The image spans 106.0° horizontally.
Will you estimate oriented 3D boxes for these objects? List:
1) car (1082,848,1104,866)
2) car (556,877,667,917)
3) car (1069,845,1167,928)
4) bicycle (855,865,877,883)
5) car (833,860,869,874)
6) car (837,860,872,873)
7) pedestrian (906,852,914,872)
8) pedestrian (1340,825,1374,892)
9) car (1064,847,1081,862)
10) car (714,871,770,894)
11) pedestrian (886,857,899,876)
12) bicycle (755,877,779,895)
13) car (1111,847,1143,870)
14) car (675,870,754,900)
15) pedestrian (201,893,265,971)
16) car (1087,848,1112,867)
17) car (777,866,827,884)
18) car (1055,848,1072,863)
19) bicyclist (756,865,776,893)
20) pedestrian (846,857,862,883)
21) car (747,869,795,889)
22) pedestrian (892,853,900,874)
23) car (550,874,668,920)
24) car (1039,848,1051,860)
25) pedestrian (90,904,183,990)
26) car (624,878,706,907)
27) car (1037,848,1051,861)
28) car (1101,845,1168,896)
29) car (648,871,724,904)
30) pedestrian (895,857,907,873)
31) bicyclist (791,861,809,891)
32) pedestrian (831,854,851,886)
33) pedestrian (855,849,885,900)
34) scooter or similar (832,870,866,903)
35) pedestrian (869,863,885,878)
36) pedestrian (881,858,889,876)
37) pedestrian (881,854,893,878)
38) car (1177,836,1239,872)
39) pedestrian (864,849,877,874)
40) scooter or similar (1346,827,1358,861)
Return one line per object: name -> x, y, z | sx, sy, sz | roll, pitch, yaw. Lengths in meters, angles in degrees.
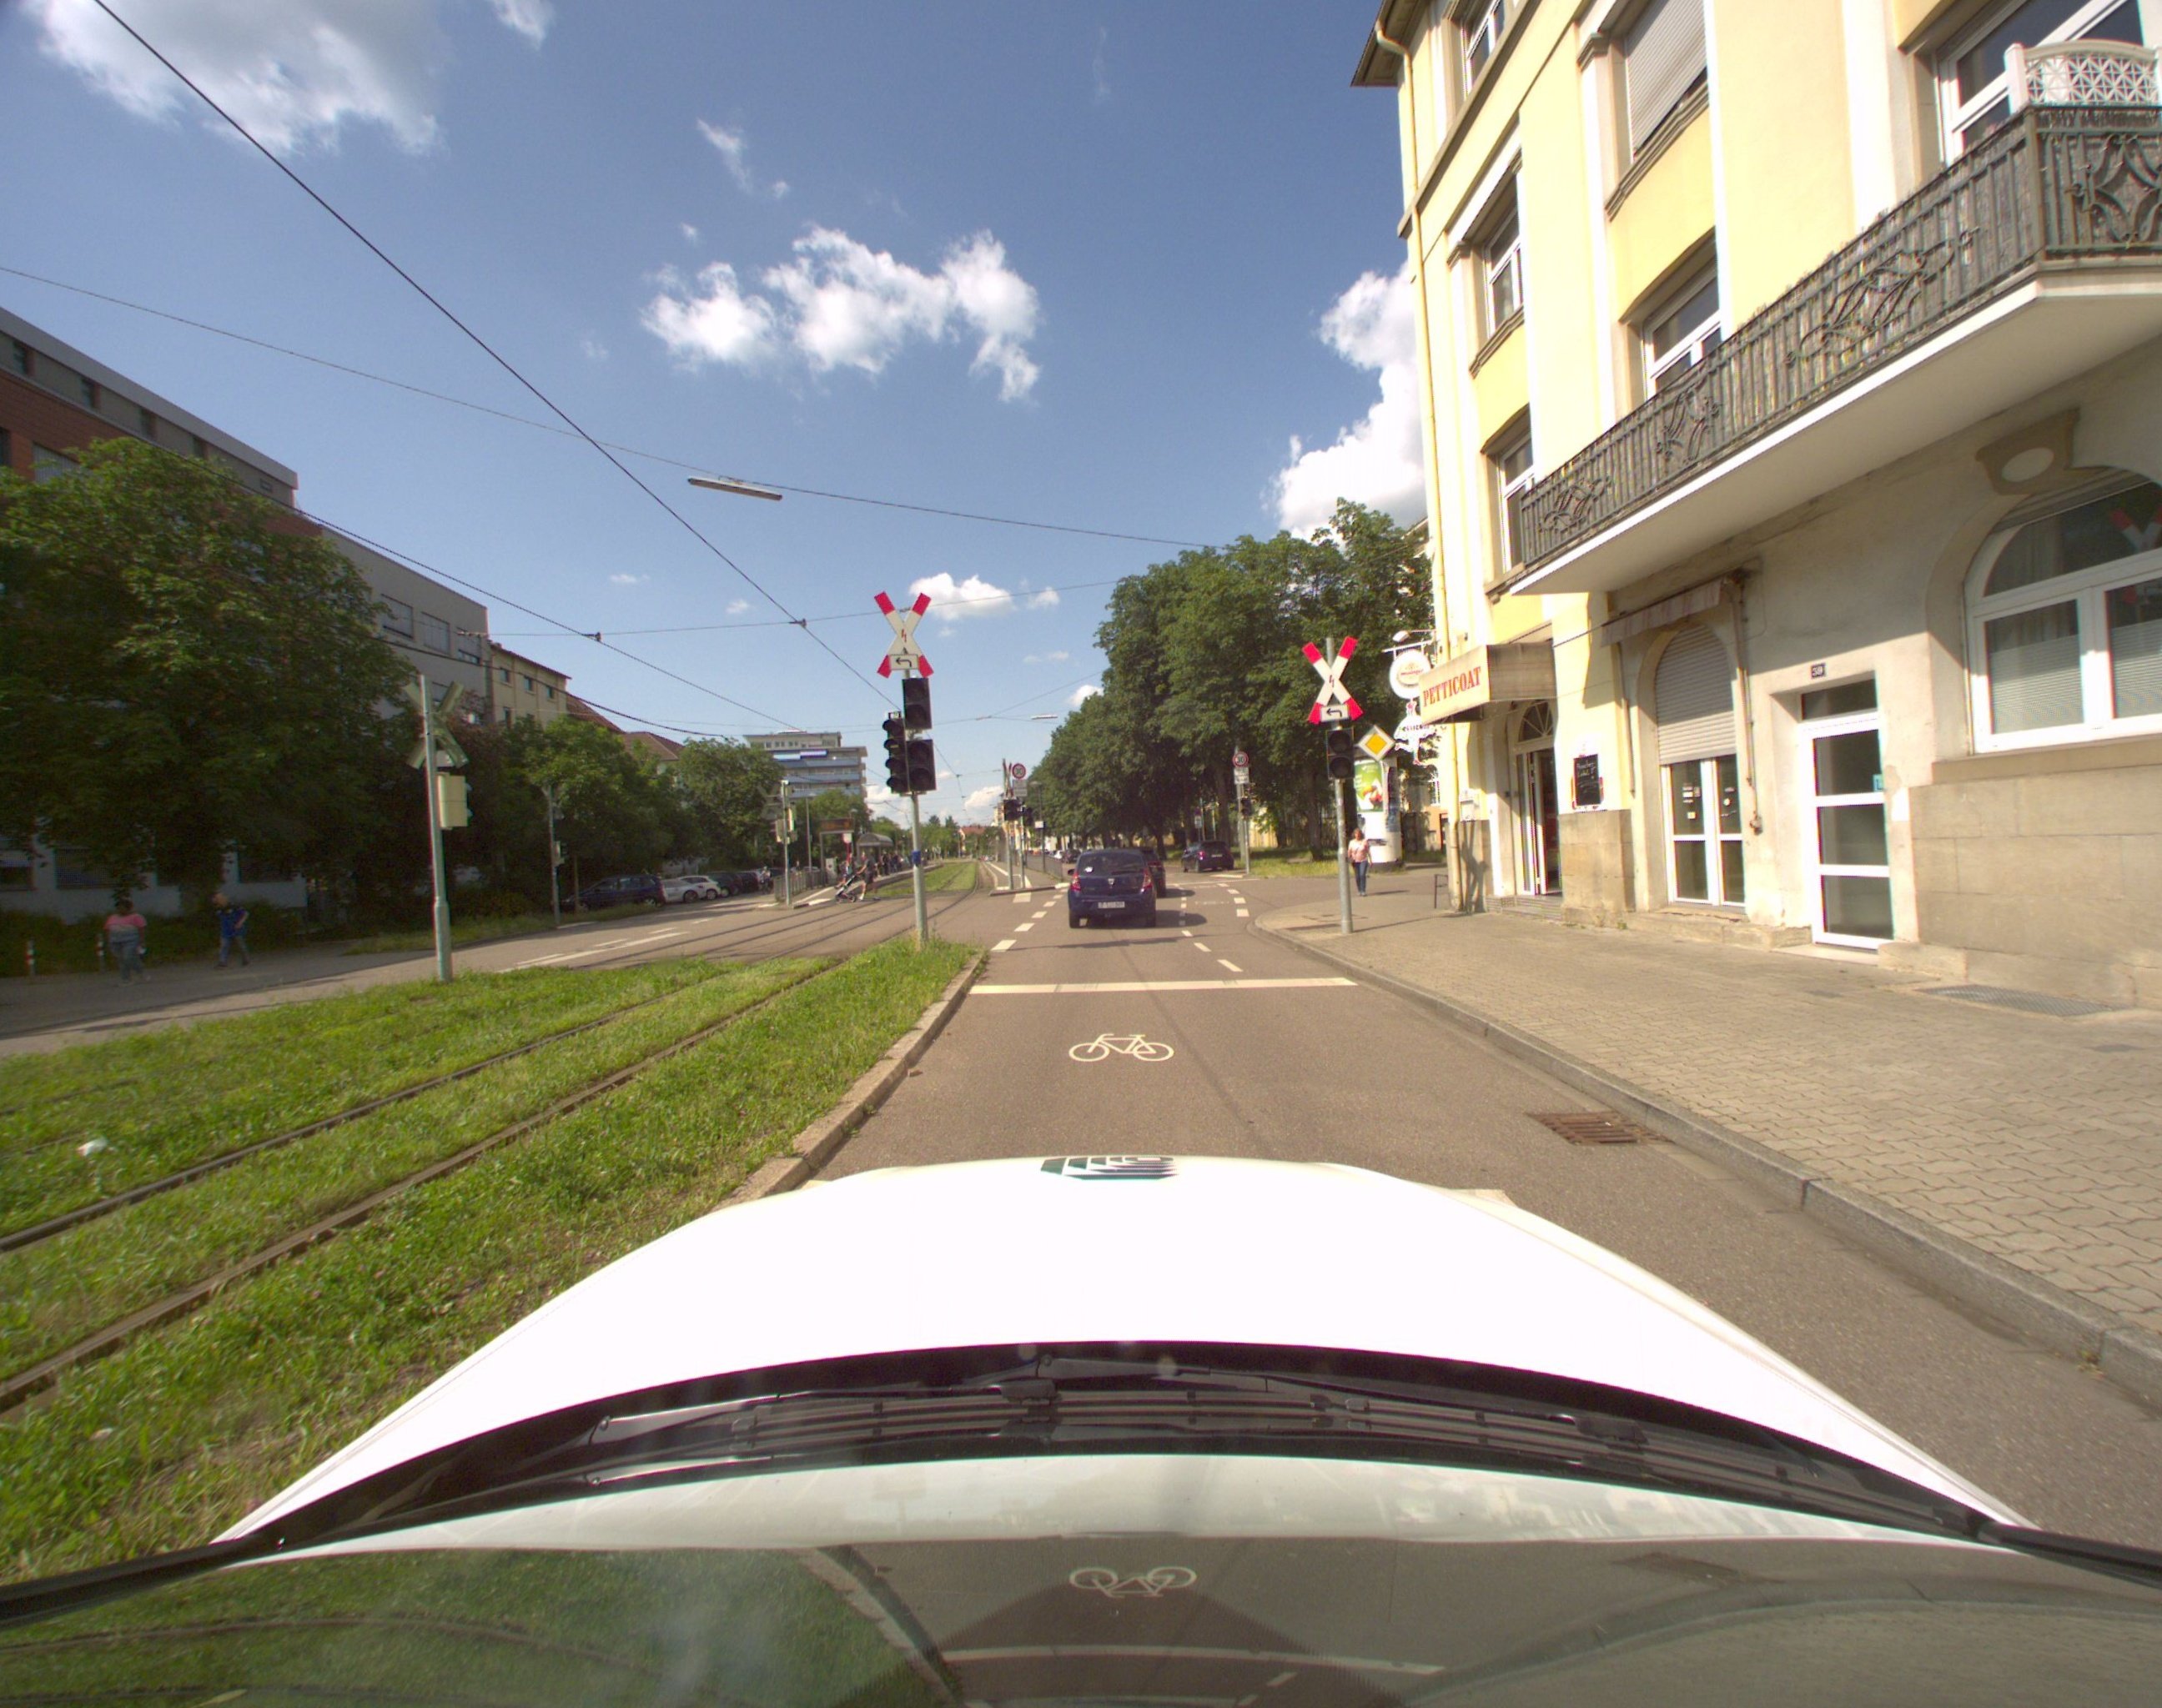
car -> 1.099, 0.285, 75.122 | 1.846, 1.515, 3.998 | -4, 0, -1
car -> -22.040, 1.997, 38.330 | 1.704, 1.499, 4.158 | -3, 0, 44
car -> 0.735, 0.584, 16.996 | 1.761, 1.462, 3.777 | -2, 1, 1
bicycle -> -13.324, 1.214, 50.475 | 0.683, 0.974, 1.773 | -6, 1, 3
car -> -28.269, 1.625, 100.307 | 1.618, 1.385, 4.026 | -3, 0, 38
car -> -29.342, 1.625, 105.612 | 4.022, 1.447, 1.707 | -4, 0, -41
pedestrian -> -17.508, 0.814, 83.427 | 0.661, 2.013, 0.800 | -4, 0, -12
pedestrian -> 7.066, 0.101, 20.830 | 0.666, 1.648, 0.767 | -4, 0, 21
car -> -1.008, 0.068, 93.071 | 1.823, 1.537, 3.998 | -4, 0, -1
car -> -23.513, 1.945, 56.495 | 1.437, 1.309, 3.268 | -3, 0, 35
pedestrian -> -14.605, 0.973, 63.060 | 0.648, 1.425, 0.567 | -4, 0, 30
bicycle -> -19.285, 1.928, 50.038 | 0.679, 0.970, 2.176 | -4, 0, -3
car -> 3.260, 0.276, 58.403 | 1.856, 1.445, 3.998 | -5, 0, -1
car -> -22.608, 1.884, 50.363 | 1.669, 1.456, 4.025 | -4, 1, 43
pedestrian -> -19.190, 1.752, 18.447 | 0.555, 1.657, 0.747 | -4, 0, 1
car -> 1.584, 0.317, 70.627 | 1.856, 1.445, 3.998 | -5, 0, -1
car -> -25.782, 1.932, 75.297 | 1.694, 1.367, 4.025 | -4, 1, 42
car -> -2.216, 0.177, 101.641 | 1.616, 1.749, 3.991 | -4, 0, -6
bicyclist -> -19.308, 1.527, 49.919 | 0.783, 1.581, 0.862 | -4, 0, -4
pedestrian -> -14.182, 0.990, 50.804 | 0.661, 1.569, 0.686 | -5, 0, 1
car -> -24.849, 2.012, 65.440 | 1.437, 1.309, 3.268 | -3, 0, 37
pedestrian -> -15.707, 0.790, 69.133 | 0.489, 1.712, 0.461 | -4, 0, -17
car -> -20.965, 1.868, 36.298 | 1.704, 1.640, 4.158 | -3, 0, 44
car -> -5.589, -0.027, 126.275 | 1.663, 1.771, 3.996 | -4, 0, -3
pedestrian -> -18.763, 1.819, 16.206 | 0.742, 1.574, 0.889 | -4, -1, 1
car -> -21.465, 1.970, 42.053 | 1.525, 1.236, 3.410 | -3, 0, 44
car -> -5.490, 0.005, 120.161 | 1.825, 1.761, 3.998 | -4, 0, -1
car -> 1.506, 0.430, 23.968 | 1.694, 1.368, 3.514 | -1, 1, 0
car -> -21.790, 1.837, 45.023 | 3.409, 1.505, 1.525 | -4, 0, -45
pedestrian -> -18.250, 1.107, 82.469 | 1.033, 1.437, 0.698 | -5, 1, -22
bicyclist -> -20.241, 1.581, 58.704 | 0.949, 2.013, 1.568 | -5, 0, -14
pedestrian -> -13.489, 0.899, 45.745 | 0.705, 1.726, 0.672 | -3, 0, 35
pedestrian -> -7.721, 0.750, 29.830 | 0.871, 1.775, 1.000 | -4, 0, -9
scooter or similar -> -8.366, 1.156, 29.393 | 0.953, 1.064, 0.795 | -6, 1, -8
pedestrian -> -14.678, 1.219, 58.543 | 0.923, 0.988, 0.796 | -5, -1, -5
pedestrian -> -16.588, 1.110, 68.846 | 0.489, 1.452, 0.461 | -4, 0, -17
pedestrian -> -14.886, 0.907, 62.507 | 0.602, 1.765, 0.639 | -4, 0, 2
car -> 5.858, -0.002, 38.099 | 1.764, 1.433, 3.894 | -4, 0, -8
pedestrian -> -14.759, 0.495, 57.099 | 0.654, 1.692, 0.655 | -4, 0, -6
scooter or similar -> 9.890, -0.368, 29.706 | 0.303, 1.189, 1.167 | -4, 0, 16
